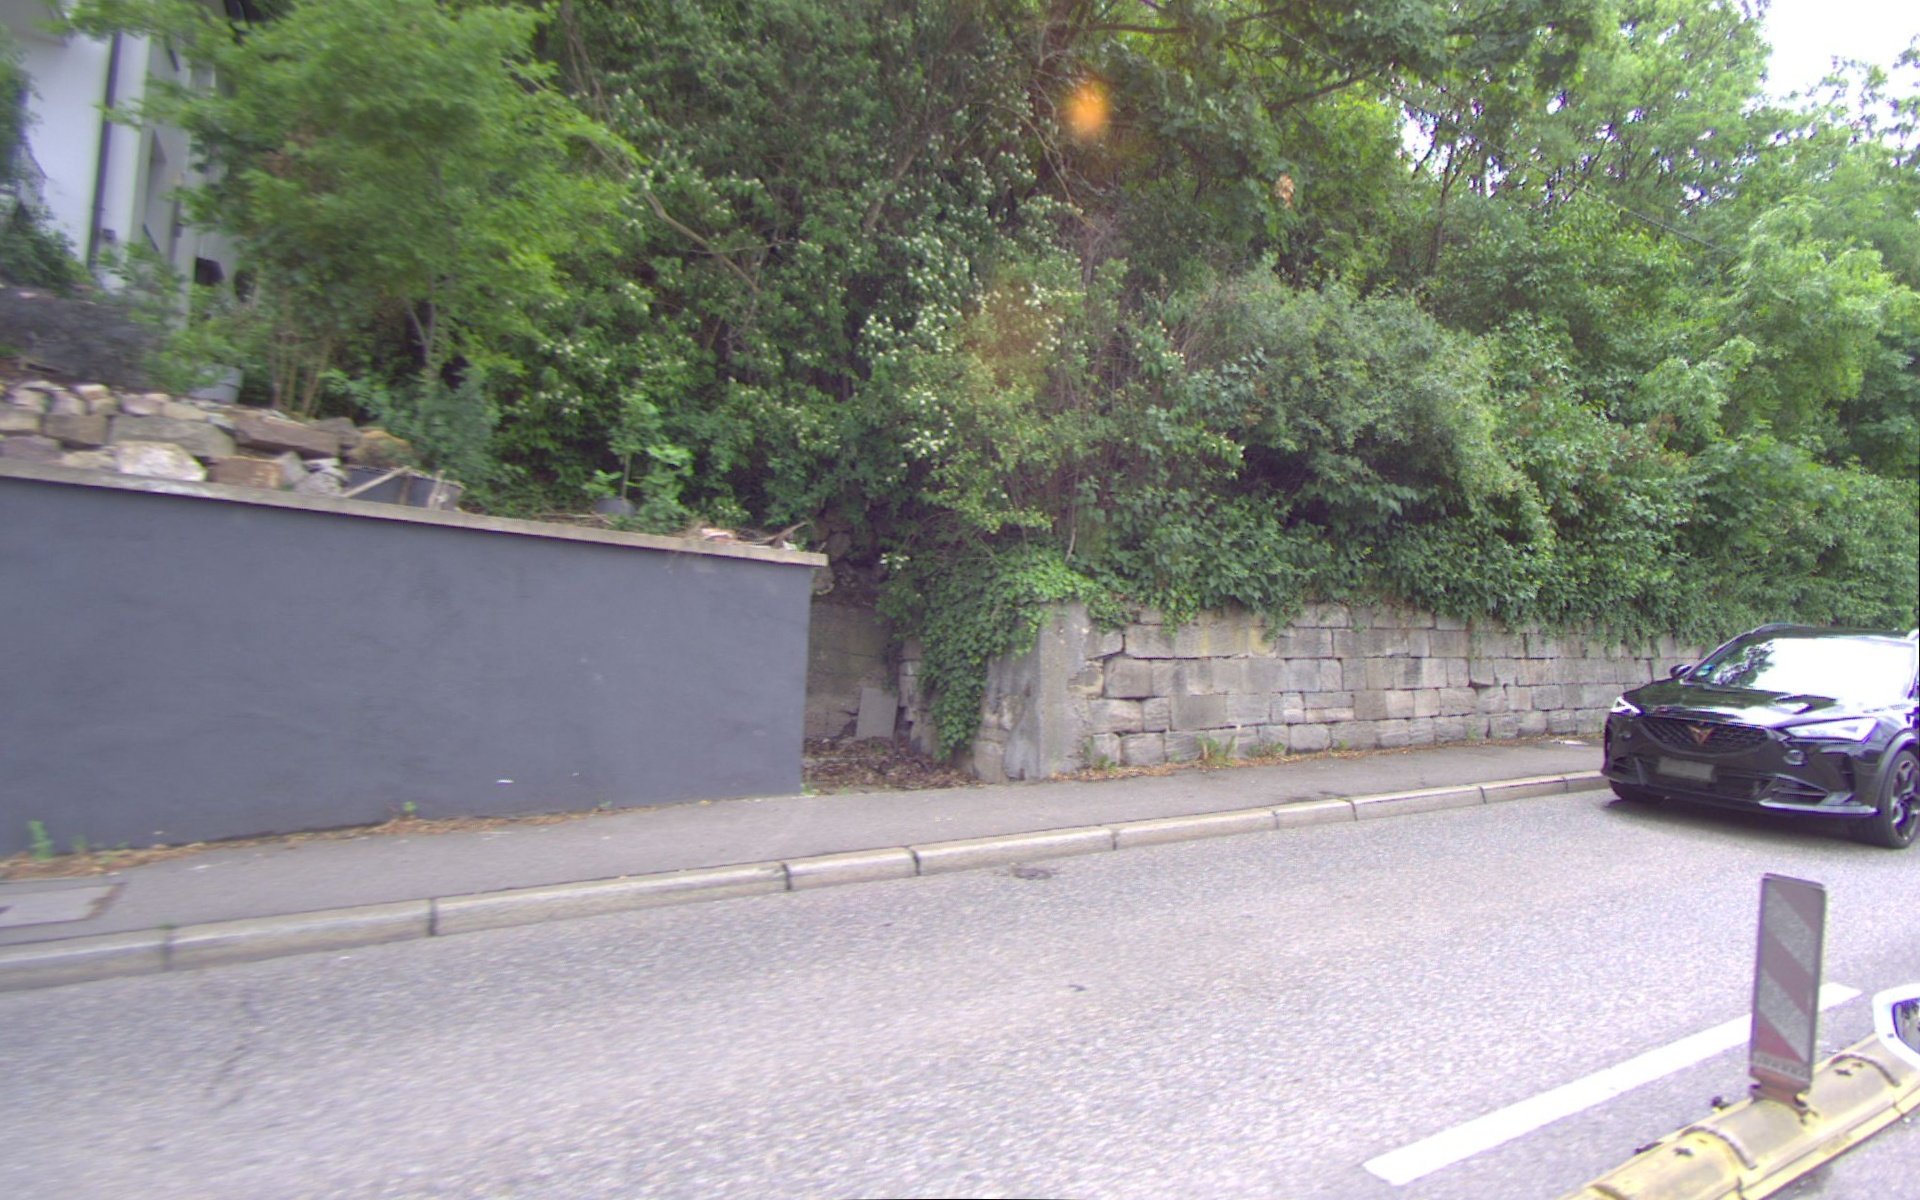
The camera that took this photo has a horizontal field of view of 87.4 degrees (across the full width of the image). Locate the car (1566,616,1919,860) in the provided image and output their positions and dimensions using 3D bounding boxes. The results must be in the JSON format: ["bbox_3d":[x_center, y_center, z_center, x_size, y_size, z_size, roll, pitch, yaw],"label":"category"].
[{"bbox_3d":[7.119,0.959,8.270,4.268,1.505,1.820,2,0,-30],"label":"car"}]
